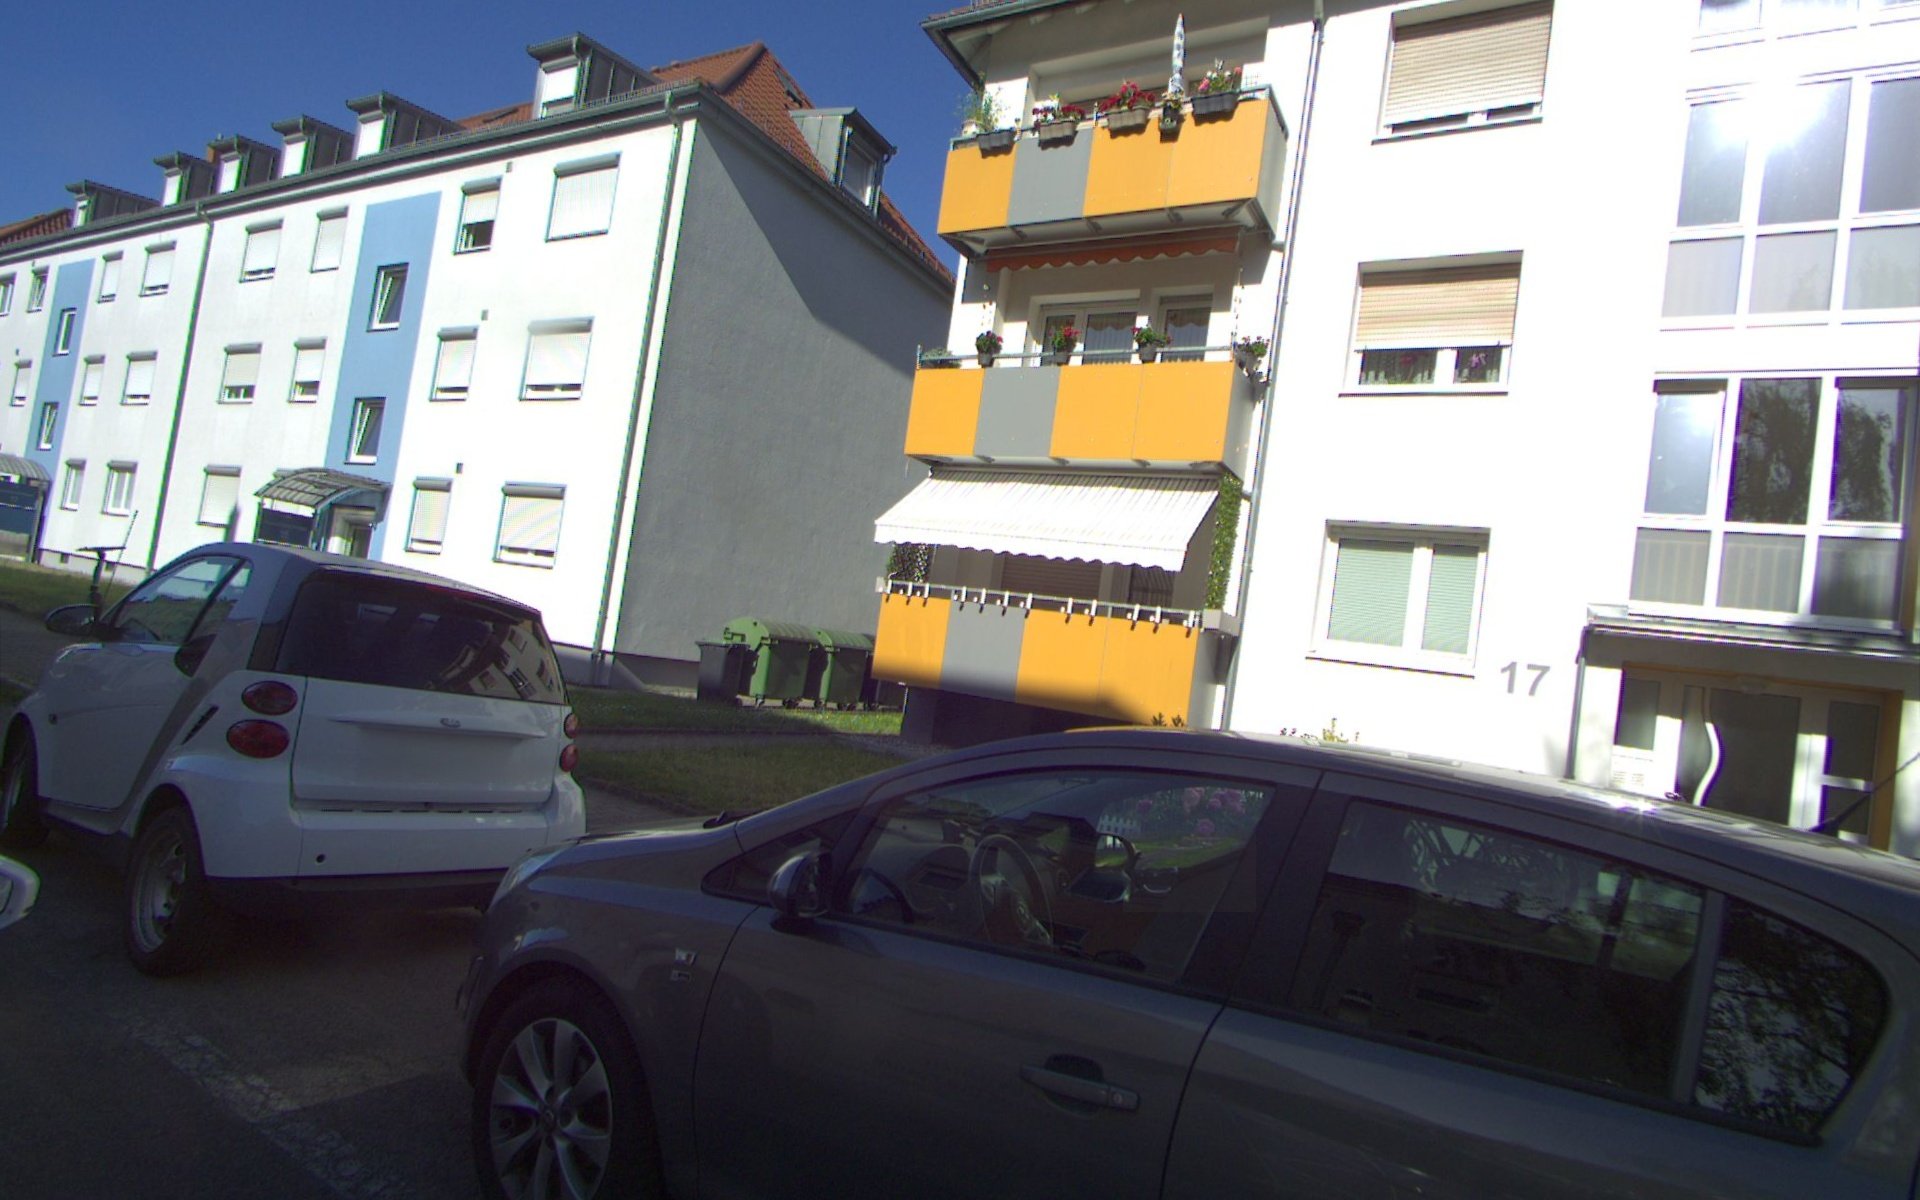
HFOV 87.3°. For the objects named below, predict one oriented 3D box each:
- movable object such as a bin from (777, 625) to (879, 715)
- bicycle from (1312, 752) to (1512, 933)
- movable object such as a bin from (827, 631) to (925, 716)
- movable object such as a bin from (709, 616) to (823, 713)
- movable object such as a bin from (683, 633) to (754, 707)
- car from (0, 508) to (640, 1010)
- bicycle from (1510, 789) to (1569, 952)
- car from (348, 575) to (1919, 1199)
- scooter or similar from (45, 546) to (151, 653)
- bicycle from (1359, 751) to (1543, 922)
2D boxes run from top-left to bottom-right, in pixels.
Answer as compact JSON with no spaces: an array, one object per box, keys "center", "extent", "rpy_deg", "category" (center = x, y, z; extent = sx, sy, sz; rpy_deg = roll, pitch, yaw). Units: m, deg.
[{"center":[-2.290,1.235,17.596],"extent":[1.038,1.428,1.346],"rpy_deg":[4,-3,31],"category":"movable object such as a bin"},{"center":[3.518,1.849,7.871],"extent":[1.278,1.099,0.404],"rpy_deg":[7,-1,32],"category":"bicycle"},{"center":[-1.561,1.383,18.839],"extent":[1.124,1.442,1.346],"rpy_deg":[4,-3,31],"category":"movable object such as a bin"},{"center":[-3.129,1.063,16.301],"extent":[1.088,1.423,1.330],"rpy_deg":[4,-3,31],"category":"movable object such as a bin"},{"center":[-3.714,1.079,15.482],"extent":[0.745,1.046,0.644],"rpy_deg":[4,-2,31],"category":"movable object such as a bin"},{"center":[-3.144,0.555,4.722],"extent":[2.894,1.544,1.484],"rpy_deg":[6,-5,35],"category":"car"},{"center":[4.262,1.952,7.385],"extent":[0.235,1.059,0.741],"rpy_deg":[7,-1,33],"category":"bicycle"},{"center":[0.591,1.003,2.439],"extent":[3.917,1.506,1.700],"rpy_deg":[7,-5,30],"category":"car"},{"center":[-10.847,-0.015,12.642],"extent":[1.562,1.163,0.484],"rpy_deg":[7,1,32],"category":"scooter or similar"},{"center":[4.152,1.963,8.535],"extent":[1.252,1.145,0.404],"rpy_deg":[7,-2,32],"category":"bicycle"}]
